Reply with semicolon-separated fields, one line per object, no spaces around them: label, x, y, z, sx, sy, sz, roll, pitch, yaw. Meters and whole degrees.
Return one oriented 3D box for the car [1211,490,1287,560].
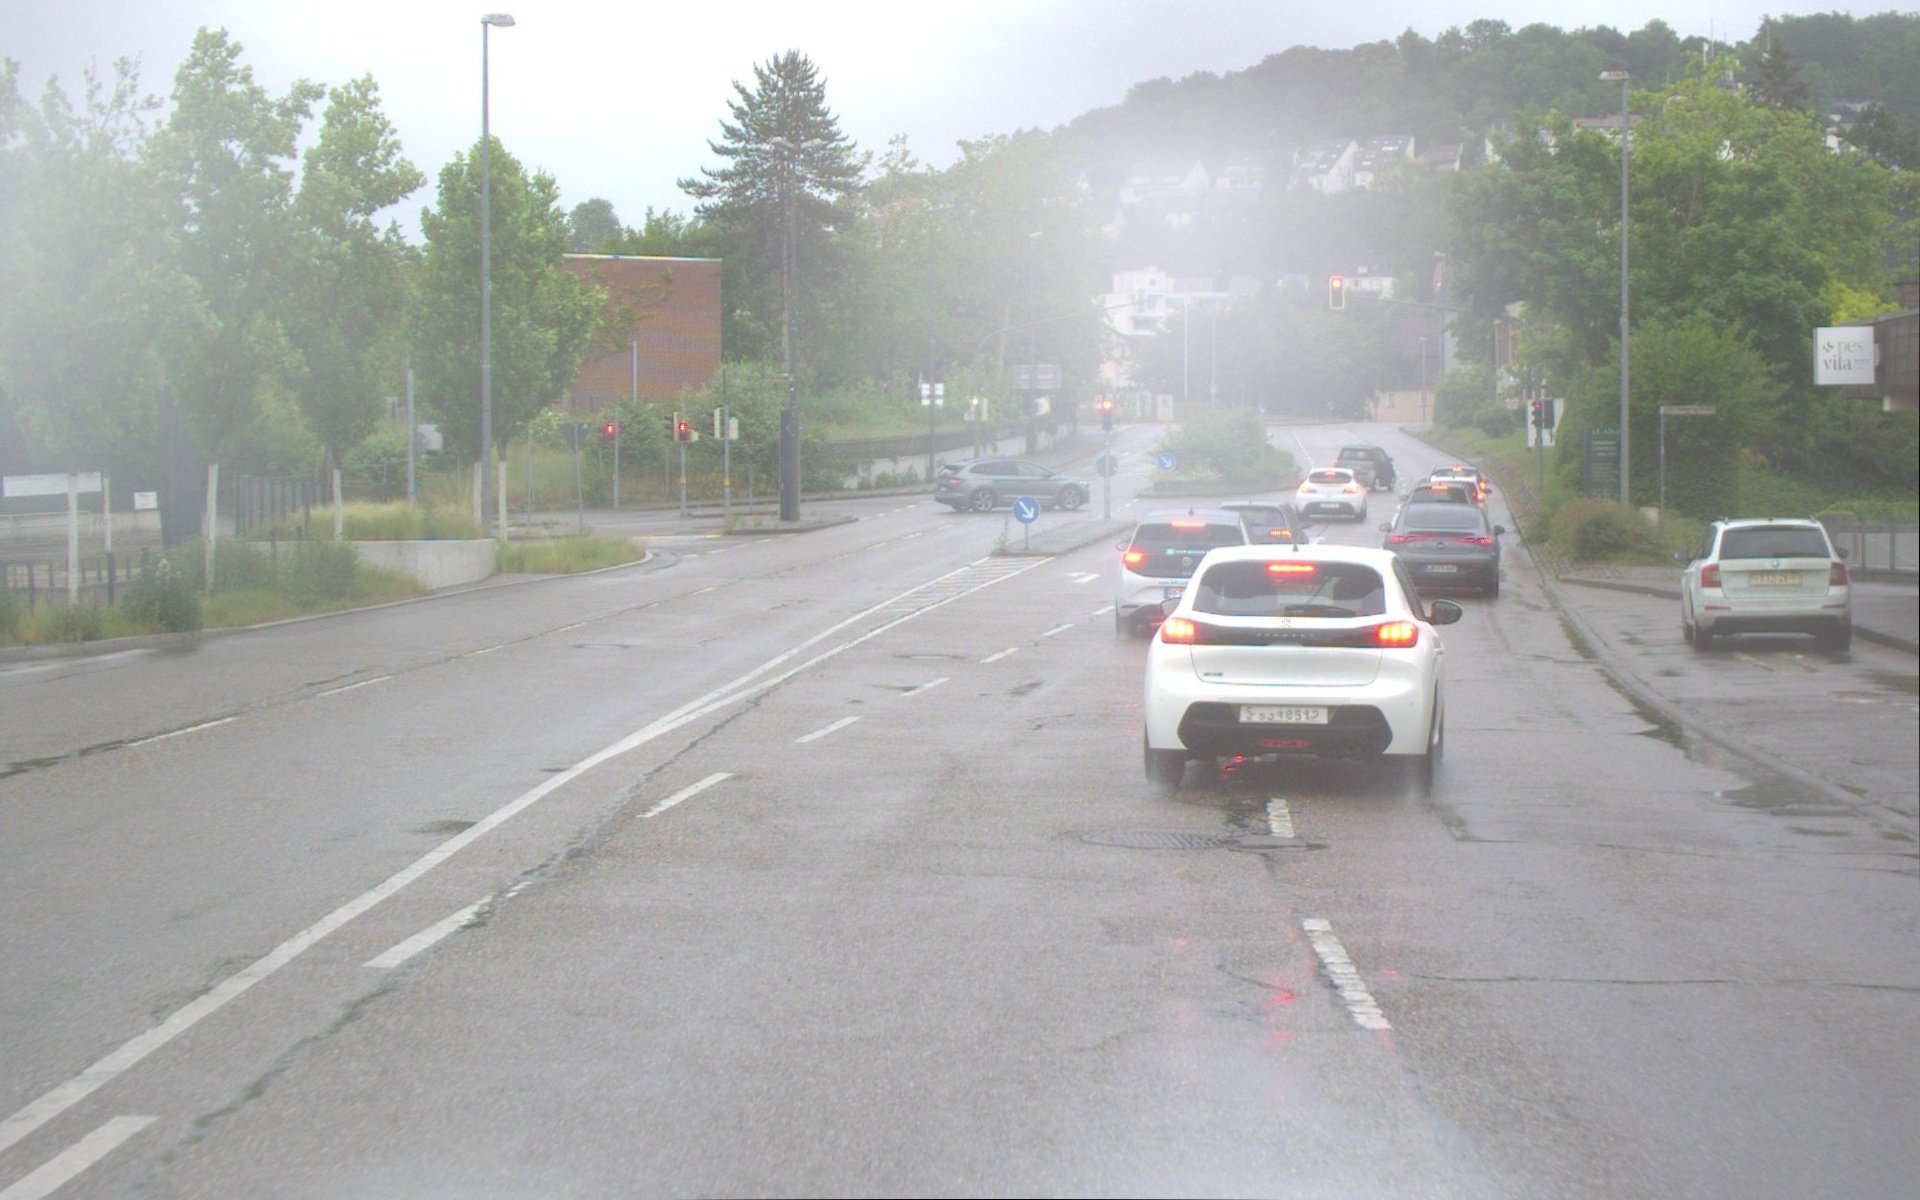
car;5.109;-1.316;60.894;1.213;1.152;2.270;-1;0;2

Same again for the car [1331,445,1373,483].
car;13.158;-4.559;115.517;1.366;1.153;2.426;-1;0;6

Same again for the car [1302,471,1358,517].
car;10.066;-2.877;93.653;1.385;1.123;2.610;-1;0;4

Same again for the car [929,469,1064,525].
car;1.075;-3.043;101.470;3.514;1.564;1.800;-1;-1;-26

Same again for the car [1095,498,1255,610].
car;2.690;-0.564;42.443;1.742;1.291;3.333;-1;1;7

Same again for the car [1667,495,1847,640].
car;9.063;-0.412;39.361;1.731;1.492;4.479;-1;2;10

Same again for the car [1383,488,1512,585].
car;7.968;-1.063;56.416;1.734;1.383;3.353;1;4;2

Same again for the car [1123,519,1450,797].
car;2.115;0.280;21.407;1.691;1.514;3.931;1;2;10
